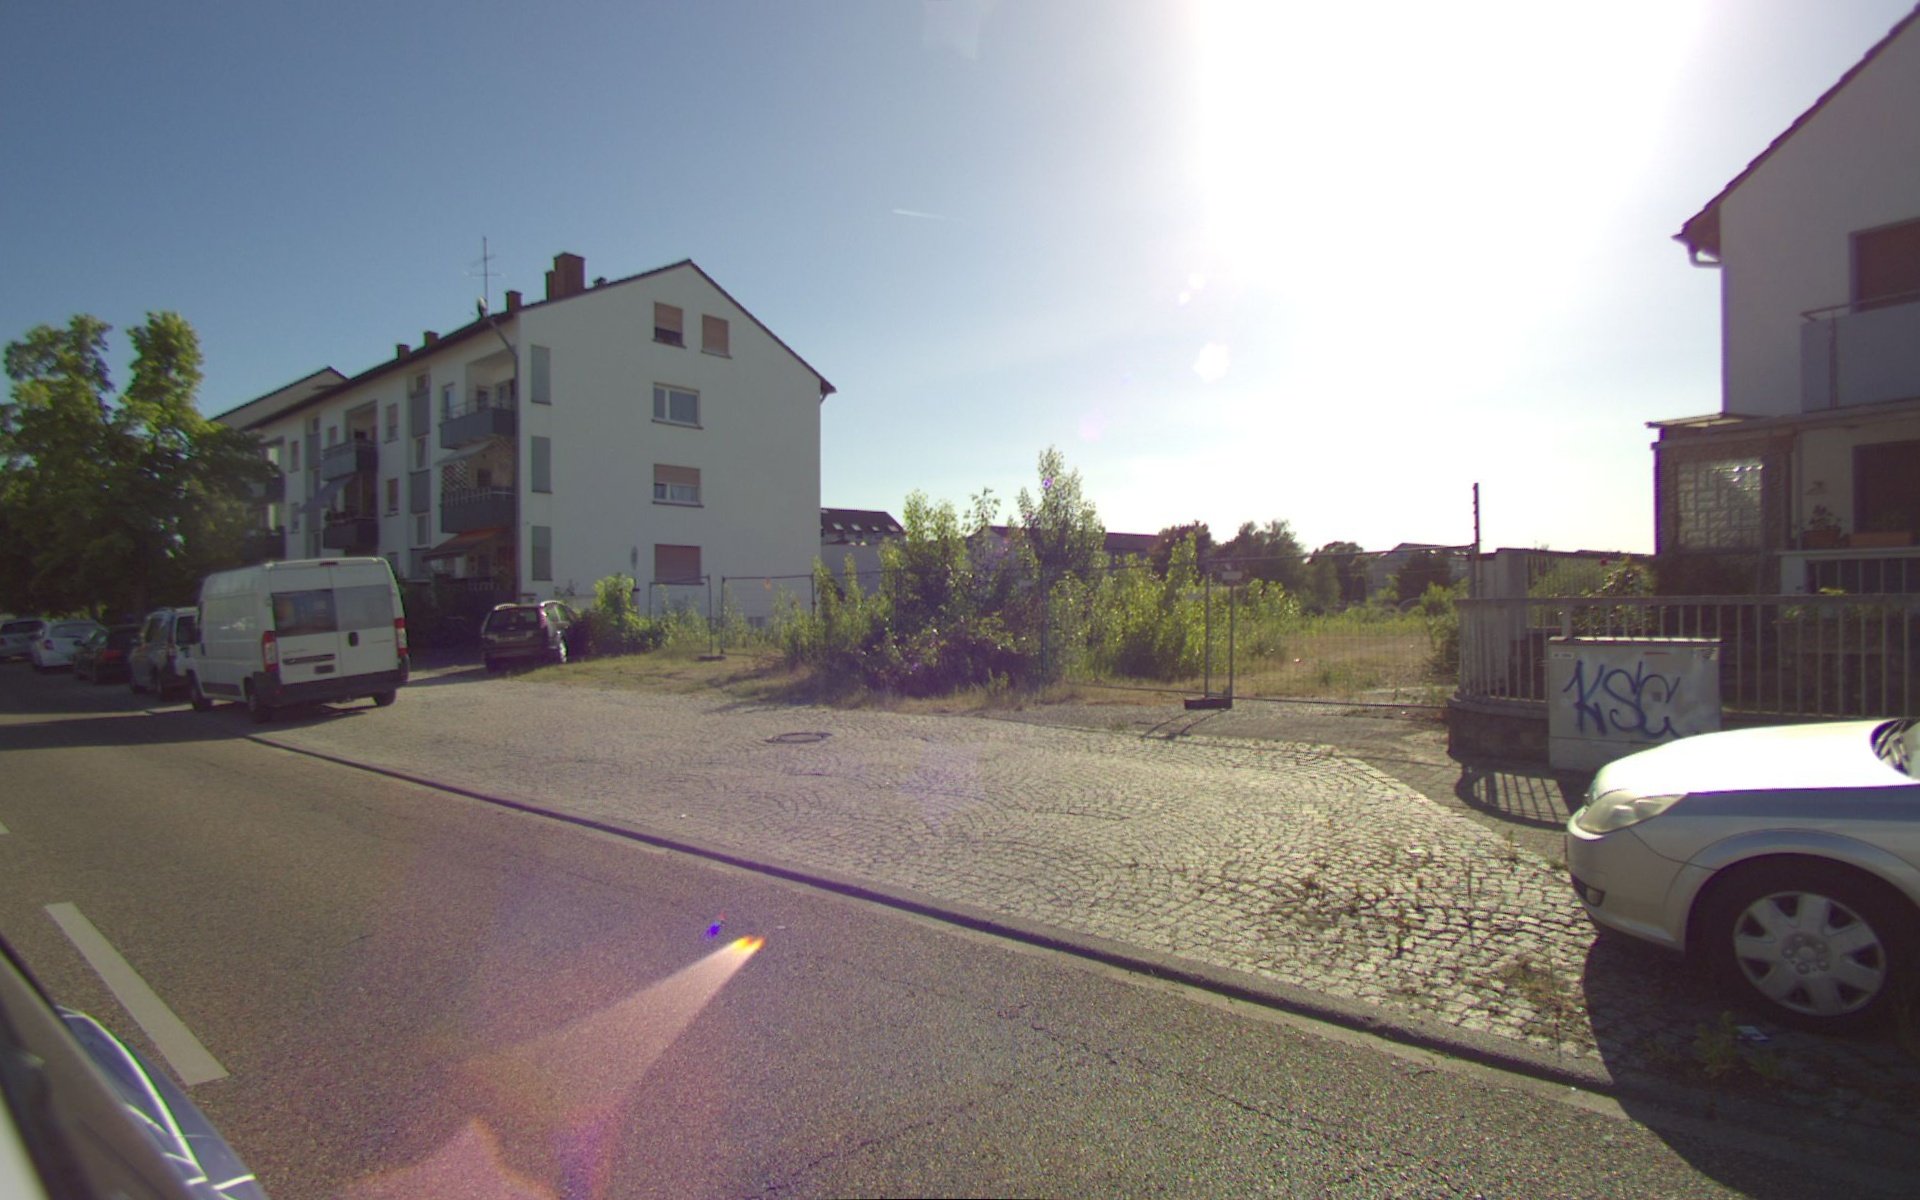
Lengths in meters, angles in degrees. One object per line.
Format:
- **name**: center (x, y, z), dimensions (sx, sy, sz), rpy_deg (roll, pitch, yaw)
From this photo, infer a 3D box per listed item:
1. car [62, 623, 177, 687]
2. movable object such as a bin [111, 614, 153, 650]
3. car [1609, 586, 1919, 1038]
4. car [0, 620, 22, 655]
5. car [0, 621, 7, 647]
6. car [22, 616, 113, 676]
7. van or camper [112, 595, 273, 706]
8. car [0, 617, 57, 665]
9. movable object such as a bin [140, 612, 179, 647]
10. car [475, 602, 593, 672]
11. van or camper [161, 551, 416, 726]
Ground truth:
- **car**: center (-21.588, 1.363, 25.943), dimensions (4.311, 1.446, 1.592), rpy_deg (-2, 0, 41)
- **movable object such as a bin**: center (-39.378, 1.501, 48.106), dimensions (1.267, 1.675, 1.397), rpy_deg (-2, -1, 43)
- **car**: center (4.630, 0.670, 3.089), dimensions (4.209, 1.446, 1.668), rpy_deg (-2, 1, 43)
- **car**: center (-44.628, 1.754, 46.433), dimensions (4.540, 1.504, 1.705), rpy_deg (-2, 4, 40)
- **car**: center (-57.230, 2.076, 59.320), dimensions (1.637, 1.505, 3.915), rpy_deg (-4, 1, -40)
- **car**: center (-26.635, 1.320, 30.150), dimensions (3.908, 1.577, 1.674), rpy_deg (-2, 2, 44)
- **van or camper**: center (-16.229, 0.990, 21.324), dimensions (4.278, 2.028, 1.858), rpy_deg (-2, 2, 42)
- **car**: center (-35.771, 1.529, 38.477), dimensions (3.909, 1.604, 1.703), rpy_deg (-1, 4, 44)
- **movable object such as a bin**: center (-37.098, 1.365, 46.895), dimensions (1.327, 1.555, 1.276), rpy_deg (-2, -1, 43)
- **car**: center (-10.251, 0.842, 24.664), dimensions (1.589, 1.525, 4.396), rpy_deg (-1, 0, -9)
- **van or camper**: center (-11.678, 0.588, 17.413), dimensions (5.551, 2.508, 2.101), rpy_deg (-2, 2, 41)
